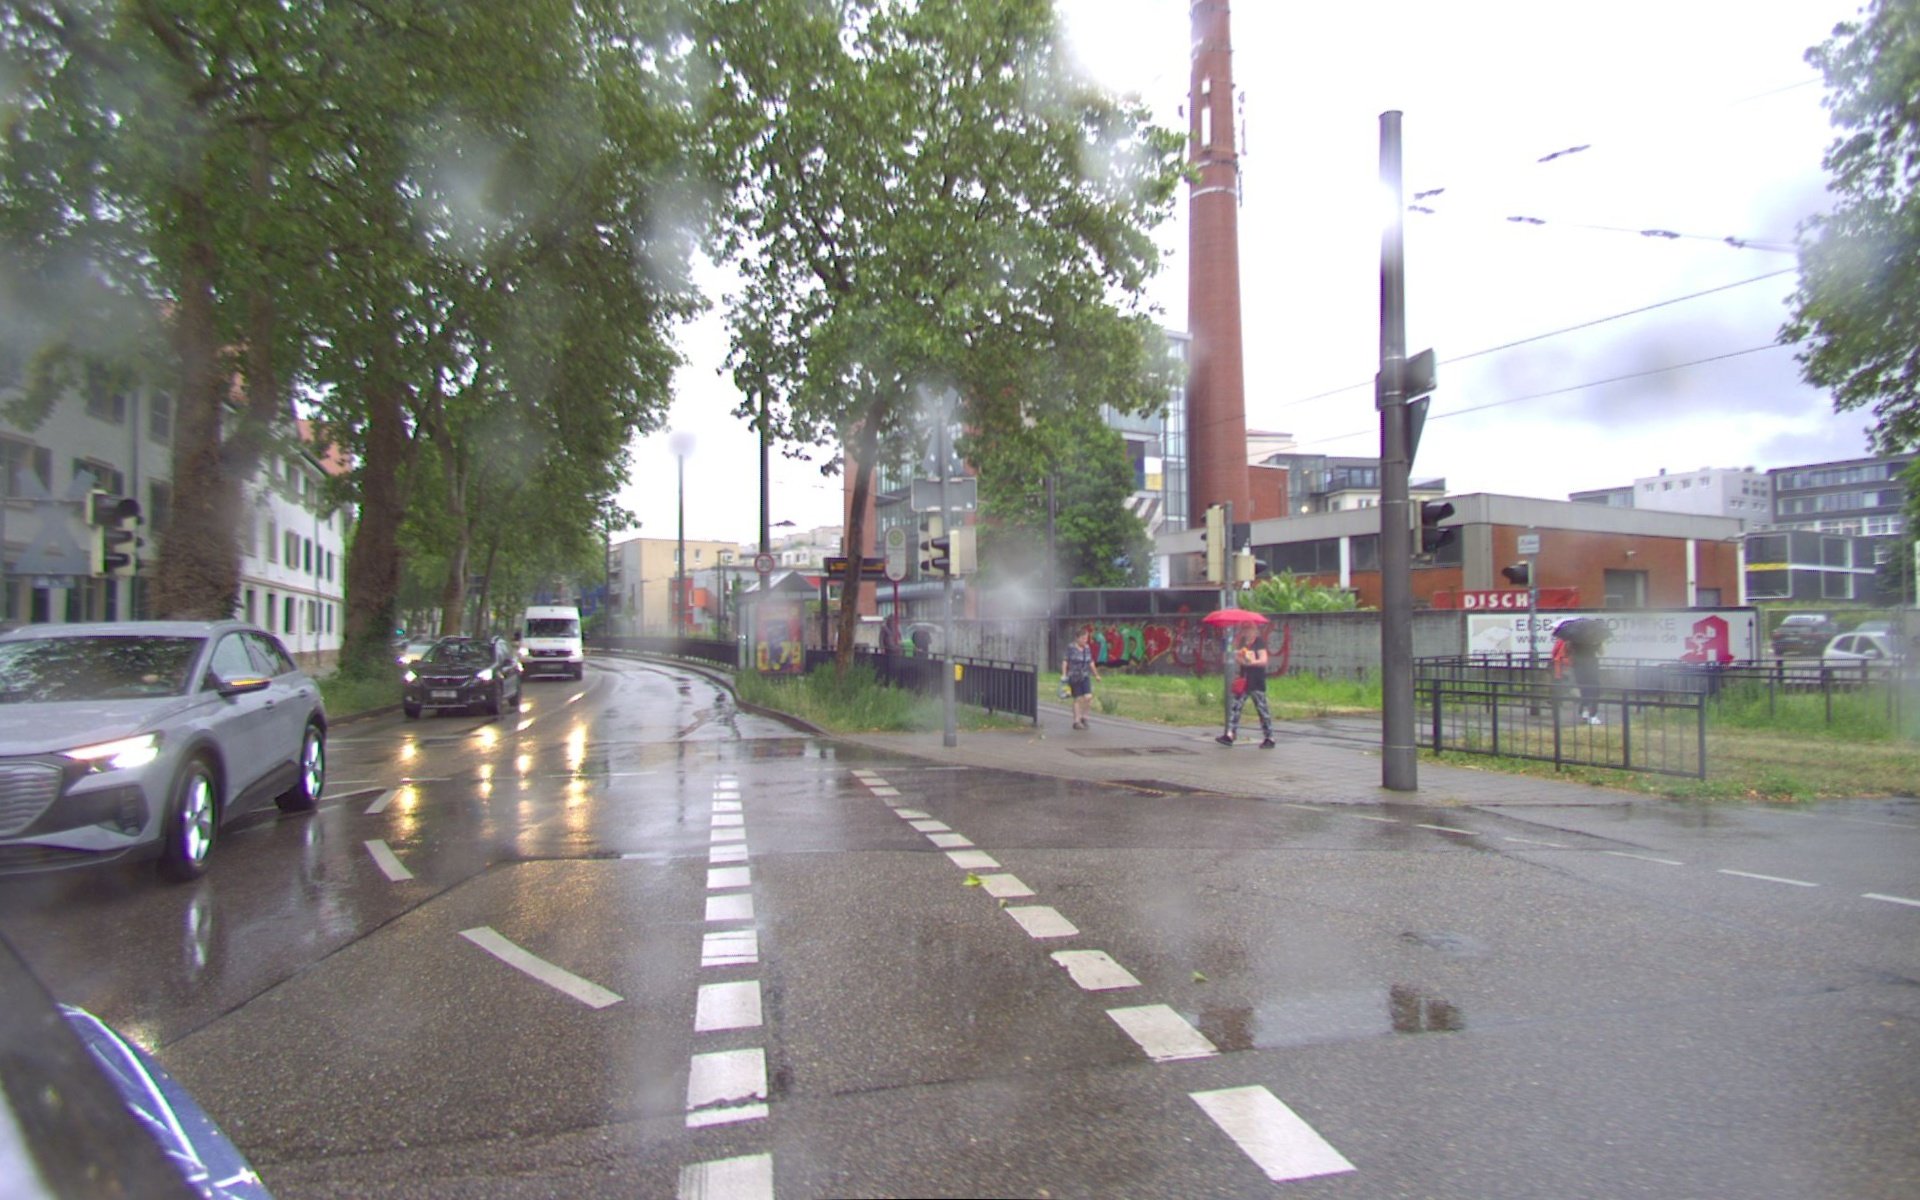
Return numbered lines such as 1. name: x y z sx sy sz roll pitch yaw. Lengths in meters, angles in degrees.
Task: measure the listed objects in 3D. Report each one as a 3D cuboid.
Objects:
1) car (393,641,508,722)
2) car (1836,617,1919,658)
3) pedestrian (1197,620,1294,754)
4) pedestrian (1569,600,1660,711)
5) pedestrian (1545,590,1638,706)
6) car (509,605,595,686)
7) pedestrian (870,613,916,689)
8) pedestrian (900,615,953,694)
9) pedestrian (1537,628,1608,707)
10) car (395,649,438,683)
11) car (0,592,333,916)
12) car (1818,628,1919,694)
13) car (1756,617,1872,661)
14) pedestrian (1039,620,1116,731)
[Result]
1. car: -10.344 1.599 20.780 1.822 1.455 4.013 0 -3 -23
2. car: 42.987 1.724 47.145 4.821 1.750 2.005 0 -2 -33
3. pedestrian: 3.811 1.137 13.539 0.834 1.701 0.863 0 -3 -26
4. pedestrian: 11.420 0.956 17.682 0.834 1.877 0.959 0 -3 -26
5. pedestrian: 10.633 0.807 17.068 0.834 1.877 0.959 0 -3 -26
6. car: -14.290 1.542 35.793 2.245 2.582 6.530 0 -2 -17
7. pedestrian: -1.667 1.257 25.063 0.845 1.846 0.851 0 -4 -27
8. pedestrian: -0.743 1.188 22.376 0.845 1.701 0.852 0 -3 -27
9. pedestrian: 12.302 1.345 20.338 0.834 1.516 0.831 0 -3 -26
10. car: -27.833 3.343 51.915 1.772 1.529 4.013 0 -1 -26
11. car: -5.832 0.879 6.963 1.779 1.633 4.150 0 -3 -20
12. car: 21.541 1.325 22.866 1.826 1.331 3.647 -1 -1 15
13. car: 36.499 1.641 43.235 4.723 1.754 2.176 0 -2 -29
14. pedestrian: 1.855 1.187 16.107 0.845 1.701 0.852 0 -3 -27
